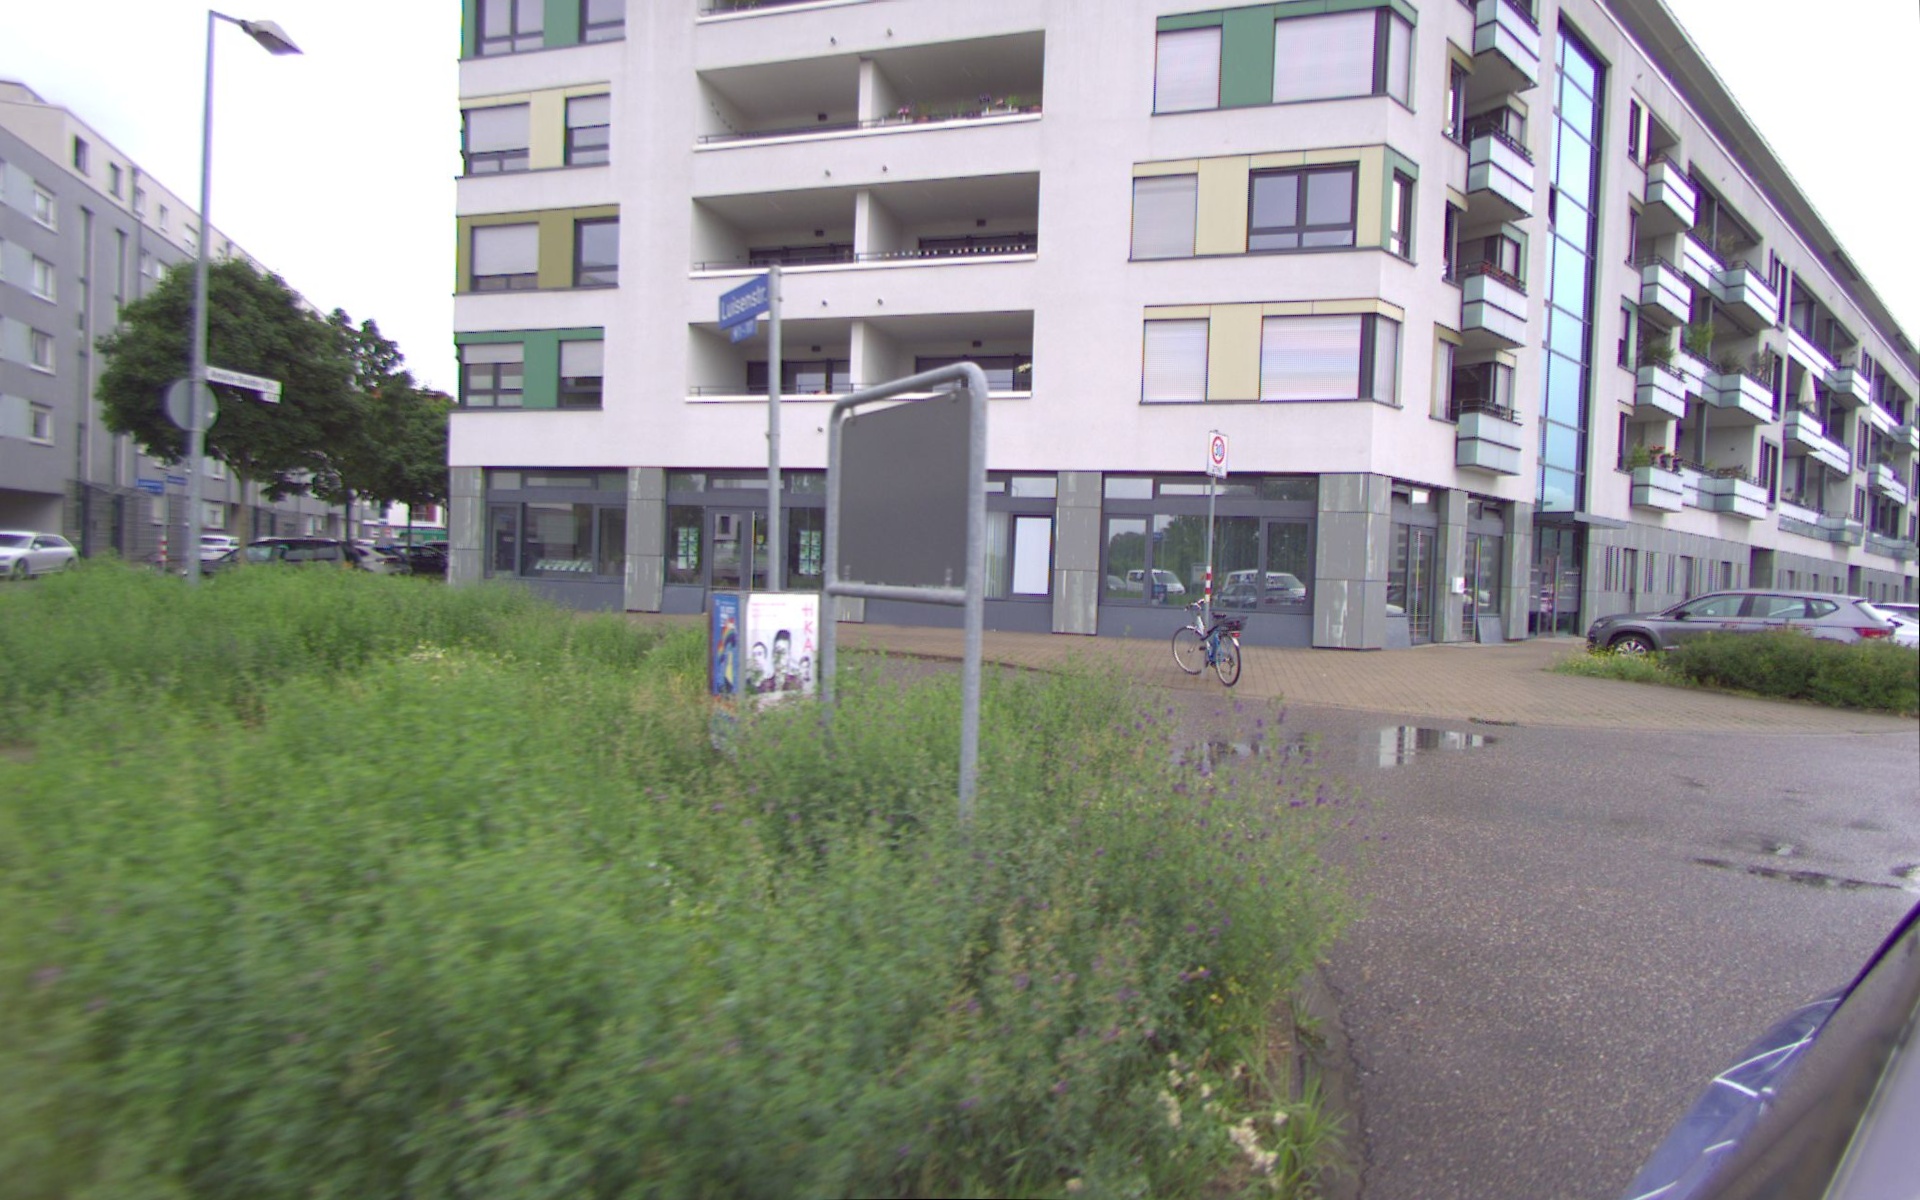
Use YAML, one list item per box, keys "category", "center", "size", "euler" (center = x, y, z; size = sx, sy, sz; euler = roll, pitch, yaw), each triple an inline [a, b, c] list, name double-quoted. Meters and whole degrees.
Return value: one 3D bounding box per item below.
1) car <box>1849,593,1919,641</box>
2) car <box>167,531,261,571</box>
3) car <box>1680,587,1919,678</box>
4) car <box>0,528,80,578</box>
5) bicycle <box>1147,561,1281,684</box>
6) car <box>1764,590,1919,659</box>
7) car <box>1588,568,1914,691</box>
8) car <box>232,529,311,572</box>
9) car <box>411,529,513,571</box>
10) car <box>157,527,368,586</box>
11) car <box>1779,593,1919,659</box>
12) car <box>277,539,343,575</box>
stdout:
- category: "car"
  center: [34.168, 0.681, 35.378]
  size: [1.860, 1.548, 4.357]
  euler: [1, 4, -40]
- category: "car"
  center: [-34.578, -2.254, 47.059]
  size: [1.958, 1.705, 4.432]
  euler: [1, 1, -14]
- category: "car"
  center: [17.476, 0.610, 20.441]
  size: [1.877, 1.422, 4.420]
  euler: [0, 4, -40]
- category: "car"
  center: [-29.148, -1.447, 30.855]
  size: [1.958, 1.449, 4.476]
  euler: [1, 1, -19]
- category: "bicycle"
  center: [3.463, 0.255, 14.040]
  size: [0.617, 1.541, 2.200]
  euler: [2, 2, -20]
- category: "car"
  center: [23.002, 0.611, 25.483]
  size: [1.846, 1.497, 3.996]
  euler: [1, 3, -41]
- category: "car"
  center: [13.579, 0.404, 17.561]
  size: [1.932, 1.643, 4.099]
  euler: [0, 4, -41]
- category: "car"
  center: [-36.800, -2.612, 54.240]
  size: [1.958, 2.123, 5.004]
  euler: [1, 1, -16]
- category: "car"
  center: [-23.153, -2.316, 47.169]
  size: [4.016, 1.776, 1.818]
  euler: [1, 1, -18]
- category: "car"
  center: [-19.029, -1.176, 27.849]
  size: [4.428, 1.450, 1.818]
  euler: [1, 1, -18]
- category: "car"
  center: [24.657, 0.694, 26.941]
  size: [2.021, 1.515, 4.072]
  euler: [1, 3, -39]
- category: "car"
  center: [-39.597, -2.614, 61.809]
  size: [1.958, 2.038, 5.480]
  euler: [1, 1, -17]
